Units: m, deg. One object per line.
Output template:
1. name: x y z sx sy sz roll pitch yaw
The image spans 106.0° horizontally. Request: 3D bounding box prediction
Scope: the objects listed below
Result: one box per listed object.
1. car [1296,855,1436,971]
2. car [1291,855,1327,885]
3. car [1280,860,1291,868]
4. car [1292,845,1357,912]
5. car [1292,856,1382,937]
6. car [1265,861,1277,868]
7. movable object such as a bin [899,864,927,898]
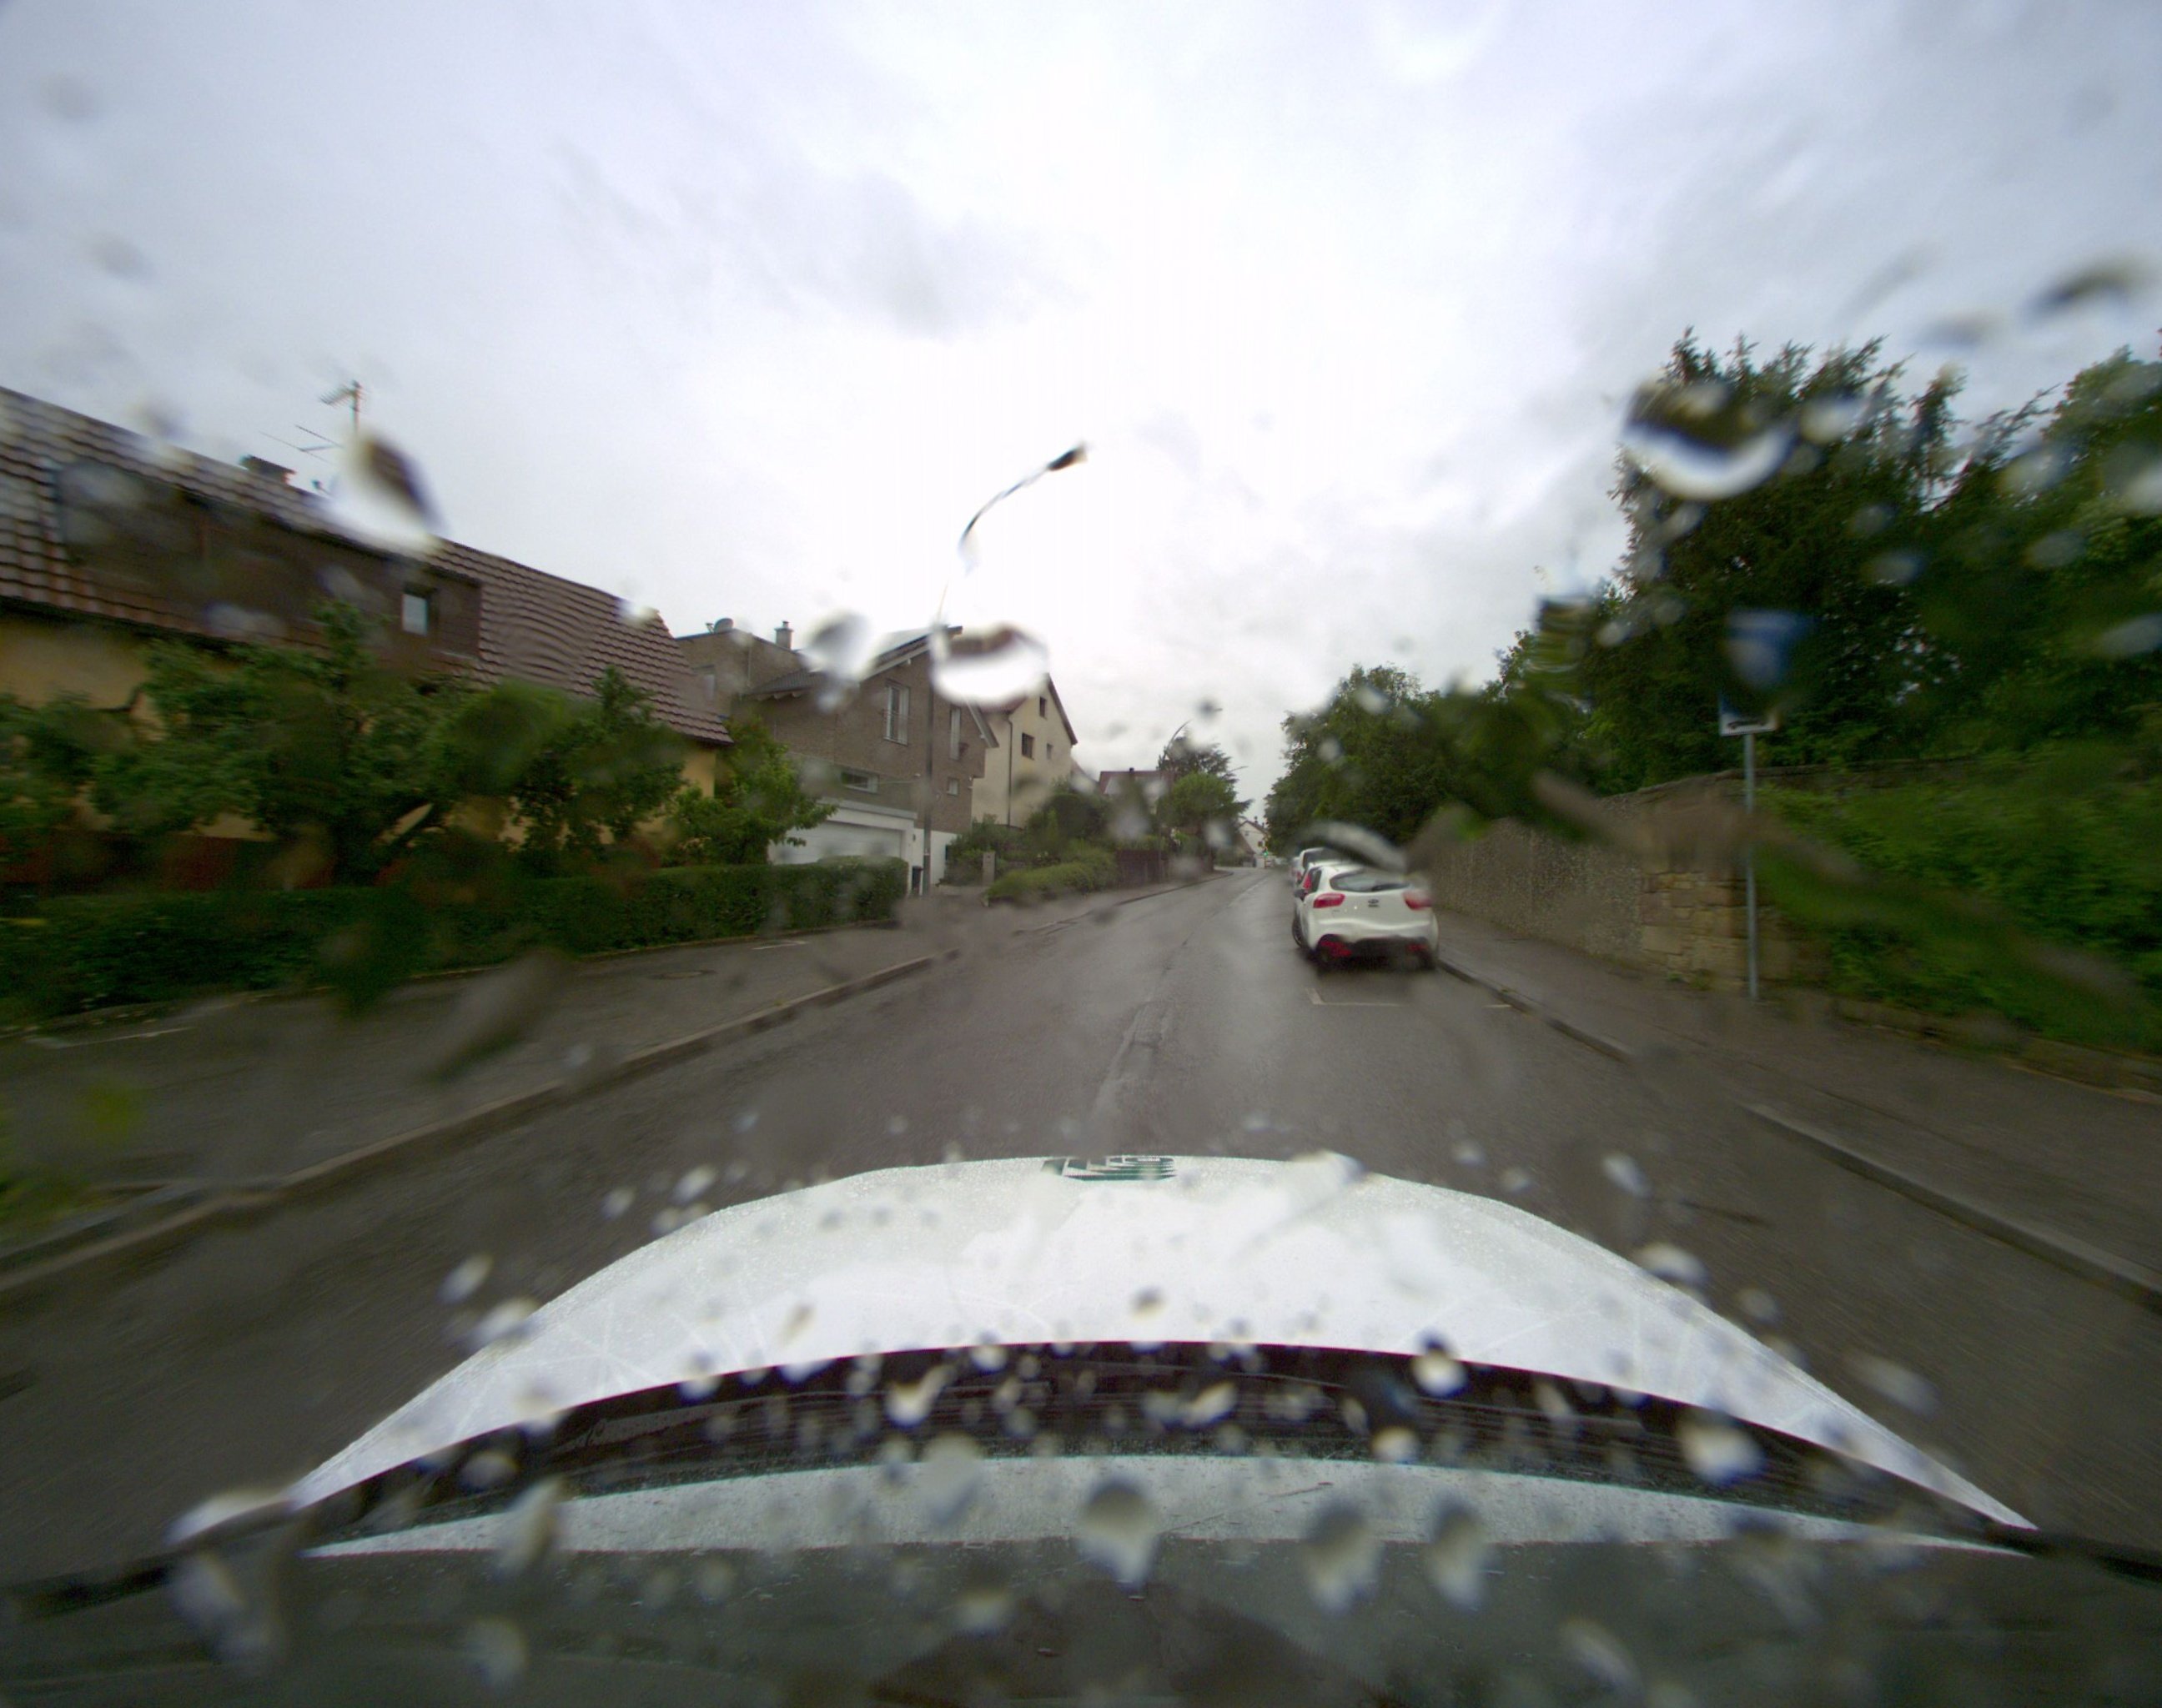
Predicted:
1. car: 4.223 0.780 12.606 1.600 1.480 4.052 0 -1 13
2. car: 12.522 0.894 44.602 1.801 1.574 3.896 0 -1 16
3. car: 39.894 1.977 158.720 1.891 1.442 4.019 0 -1 18
4. car: 6.909 0.672 23.332 1.625 1.741 4.152 0 -1 15
5. car: 5.378 0.800 17.460 1.633 1.462 4.016 1 1 15
6. car: 37.117 2.038 159.334 1.891 1.442 4.019 0 -1 18
7. movable object such as a bin: -5.503 0.883 26.663 0.555 1.074 0.716 -1 -1 26
